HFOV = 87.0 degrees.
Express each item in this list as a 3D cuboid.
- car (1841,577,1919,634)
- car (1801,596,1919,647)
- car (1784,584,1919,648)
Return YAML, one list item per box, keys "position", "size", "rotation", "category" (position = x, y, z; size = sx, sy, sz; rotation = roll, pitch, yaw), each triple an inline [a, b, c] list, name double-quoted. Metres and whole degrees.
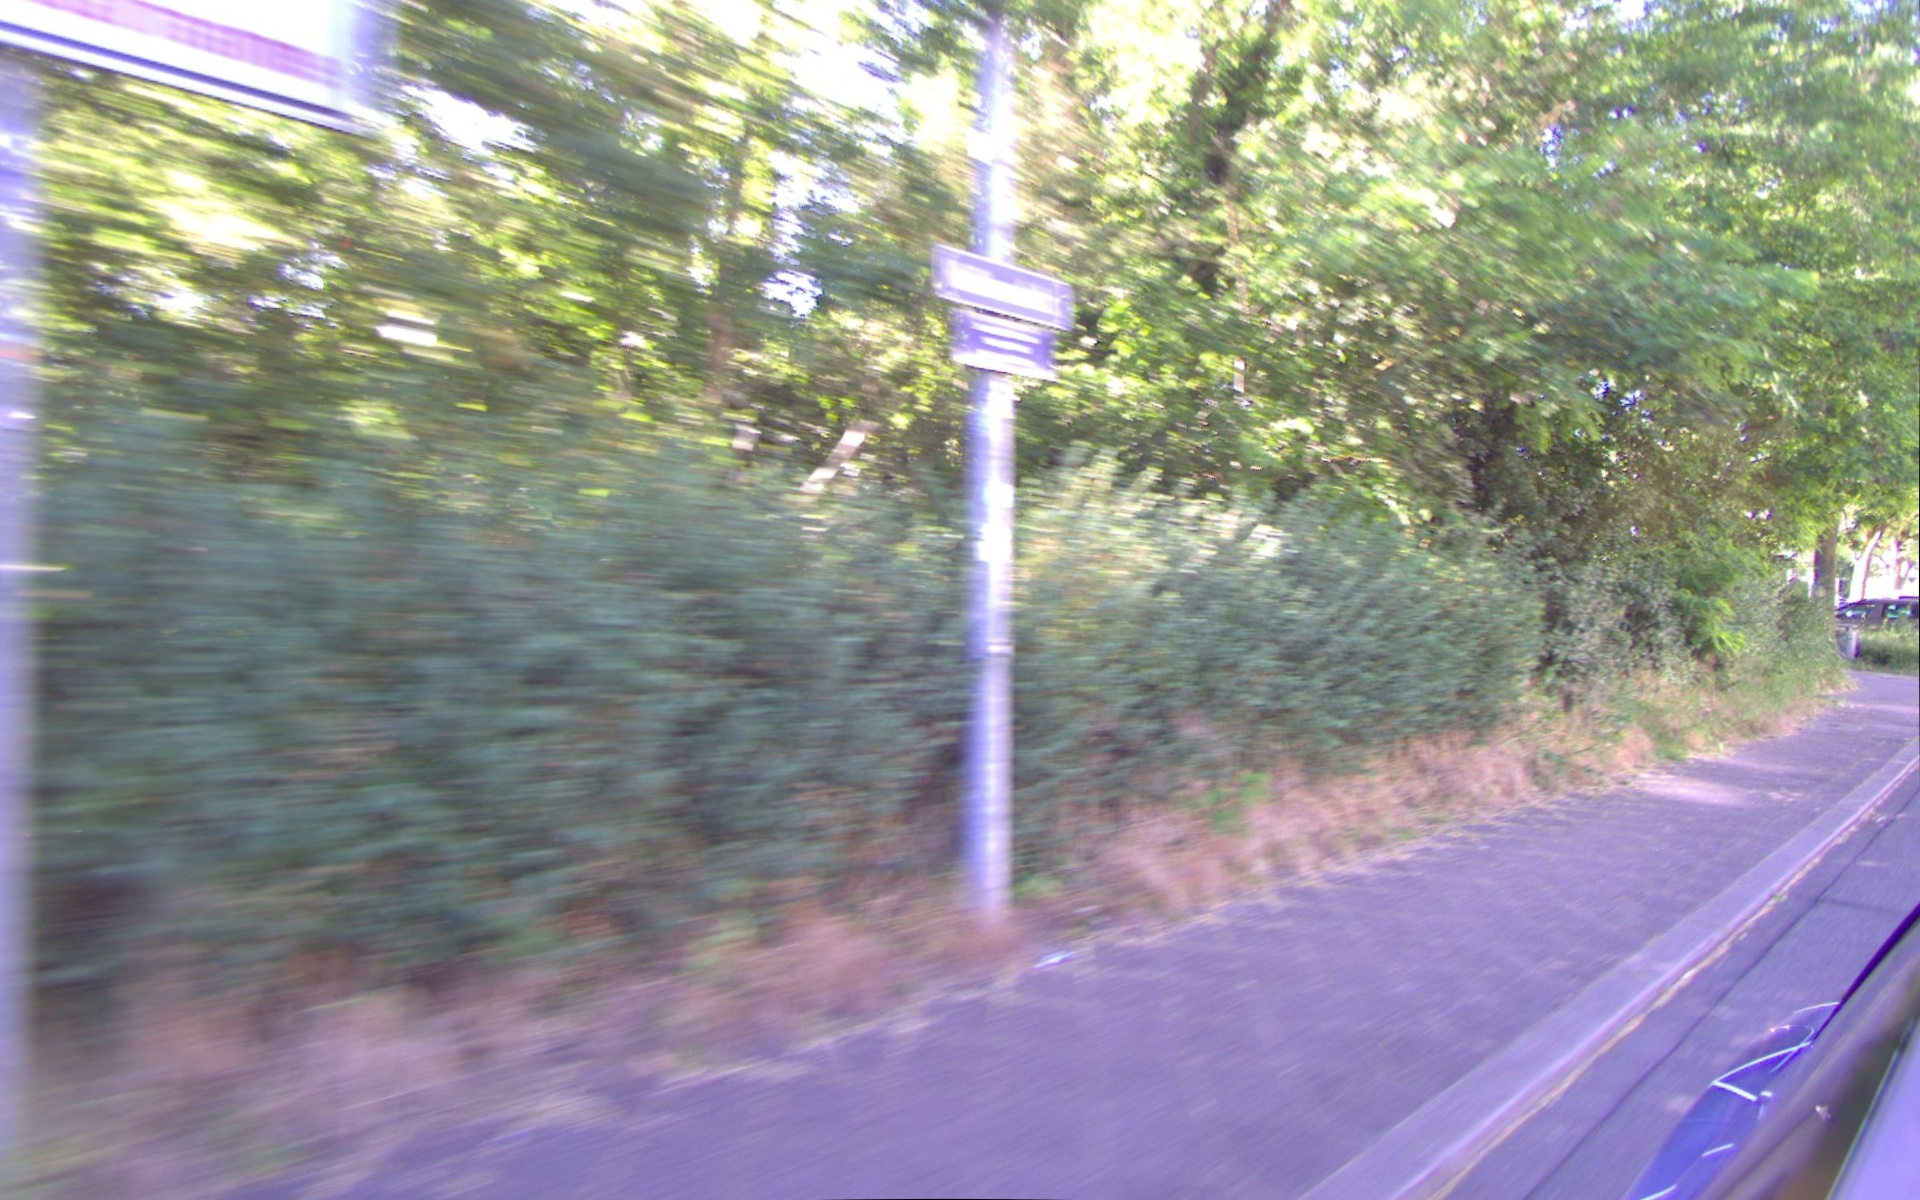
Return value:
- position: [36.522, 0.253, 38.368]
  size: [1.986, 2.041, 4.459]
  rotation: [1, 2, -42]
  category: "car"
- position: [29.294, 0.680, 31.604]
  size: [1.745, 1.431, 4.457]
  rotation: [1, 2, -43]
  category: "car"
- position: [27.282, 0.480, 30.010]
  size: [1.744, 1.716, 4.157]
  rotation: [1, 2, -41]
  category: "car"
